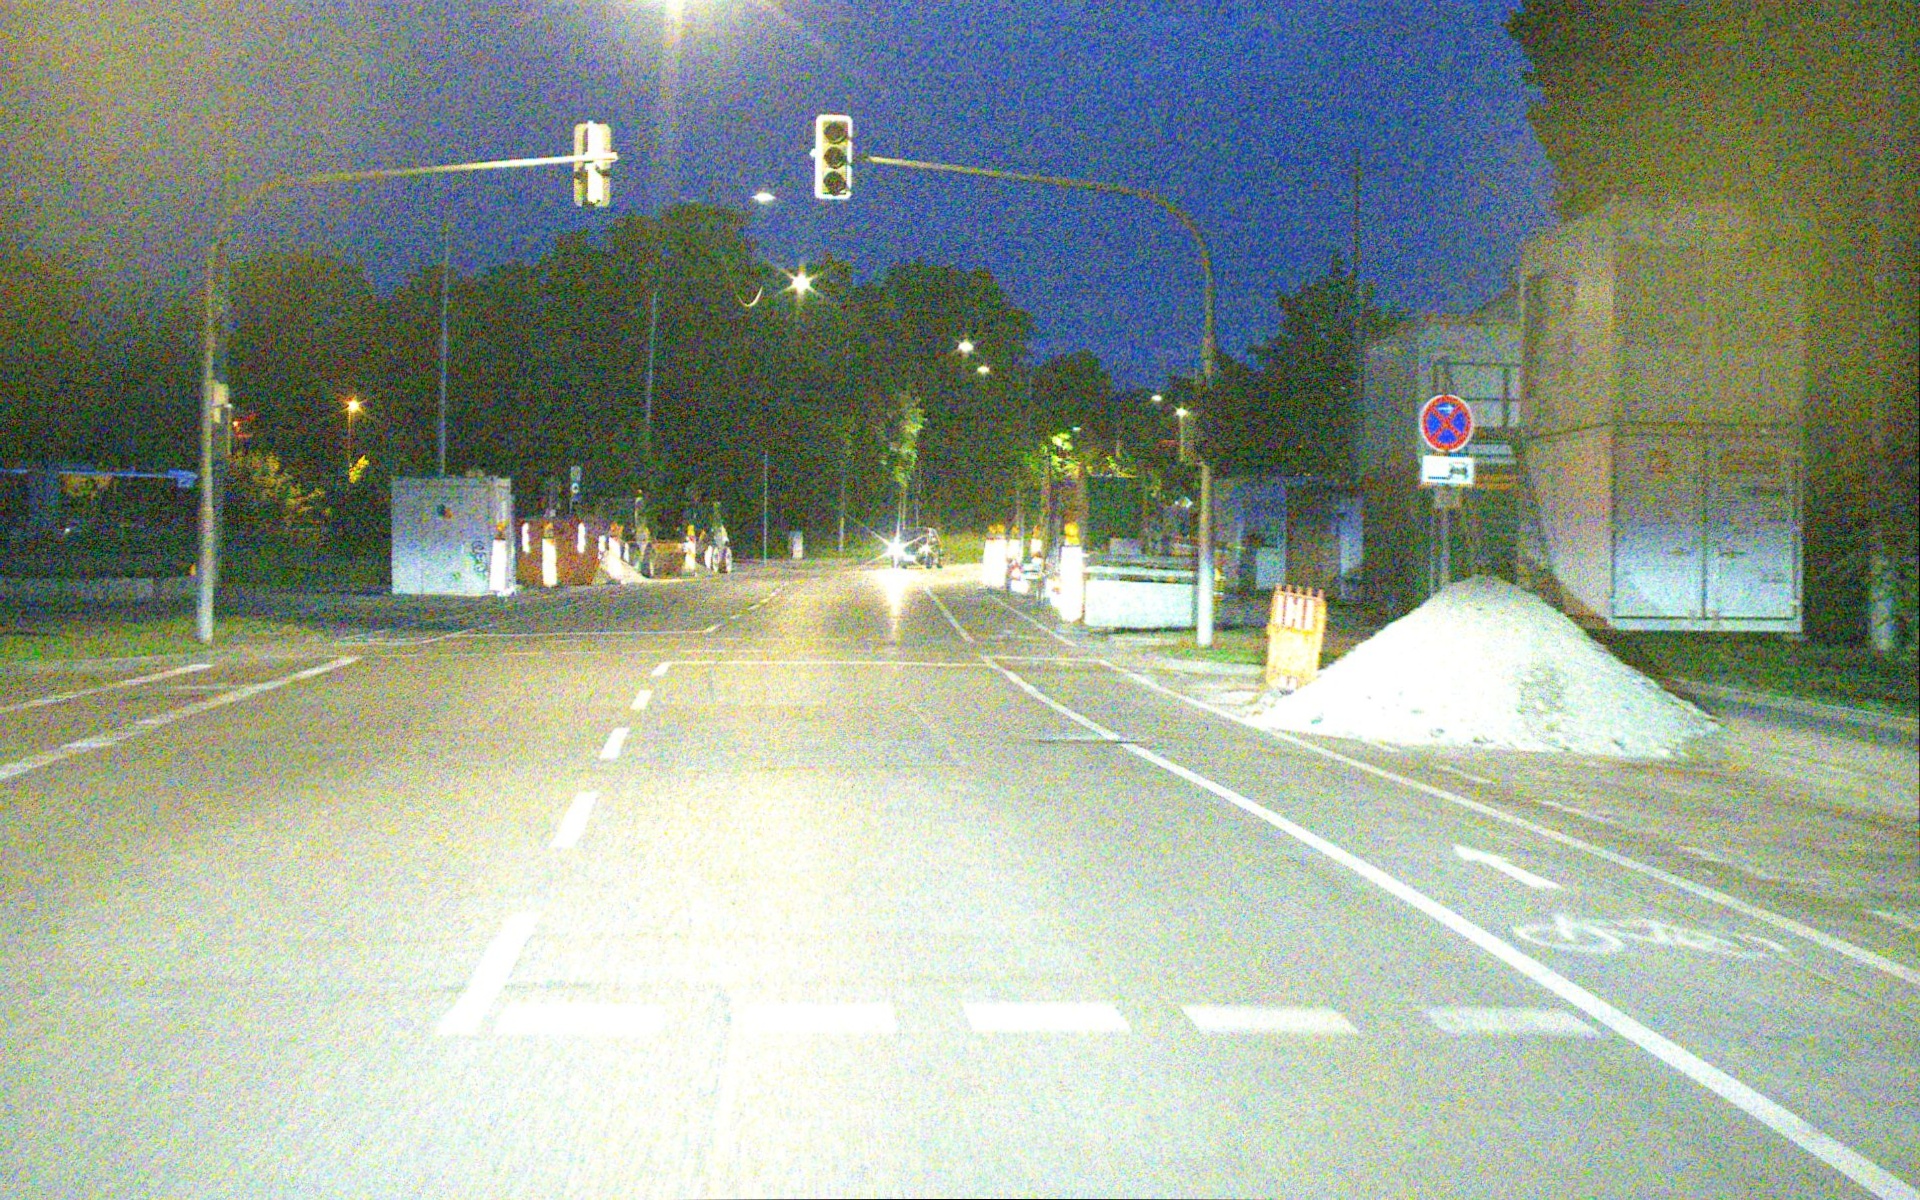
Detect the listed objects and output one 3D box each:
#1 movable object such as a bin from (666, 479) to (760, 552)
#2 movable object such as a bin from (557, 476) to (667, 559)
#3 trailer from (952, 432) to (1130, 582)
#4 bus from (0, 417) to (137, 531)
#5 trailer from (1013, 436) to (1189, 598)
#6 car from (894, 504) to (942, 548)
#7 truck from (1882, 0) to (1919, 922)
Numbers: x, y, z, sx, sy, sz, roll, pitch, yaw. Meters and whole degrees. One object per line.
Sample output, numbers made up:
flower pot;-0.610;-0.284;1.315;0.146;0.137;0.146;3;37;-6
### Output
movable object such as a bin;-8.188;-2.816;114.534;1.994;2.368;4.700;0;1;11
movable object such as a bin;-10.282;-2.477;101.985;1.994;2.368;4.700;0;2;11
trailer;1.815;-2.119;79.639;3.481;3.208;4.866;2;1;-5
bus;-28.088;-3.617;98.299;3.015;3.193;12.664;1;2;16
trailer;2.605;-1.537;64.782;2.613;2.836;4.710;2;1;-5
car;-1.574;-2.743;127.528;1.696;1.571;2.957;-1;2;-2
truck;5.424;-0.481;9.245;2.755;3.770;10.227;1;1;-2
